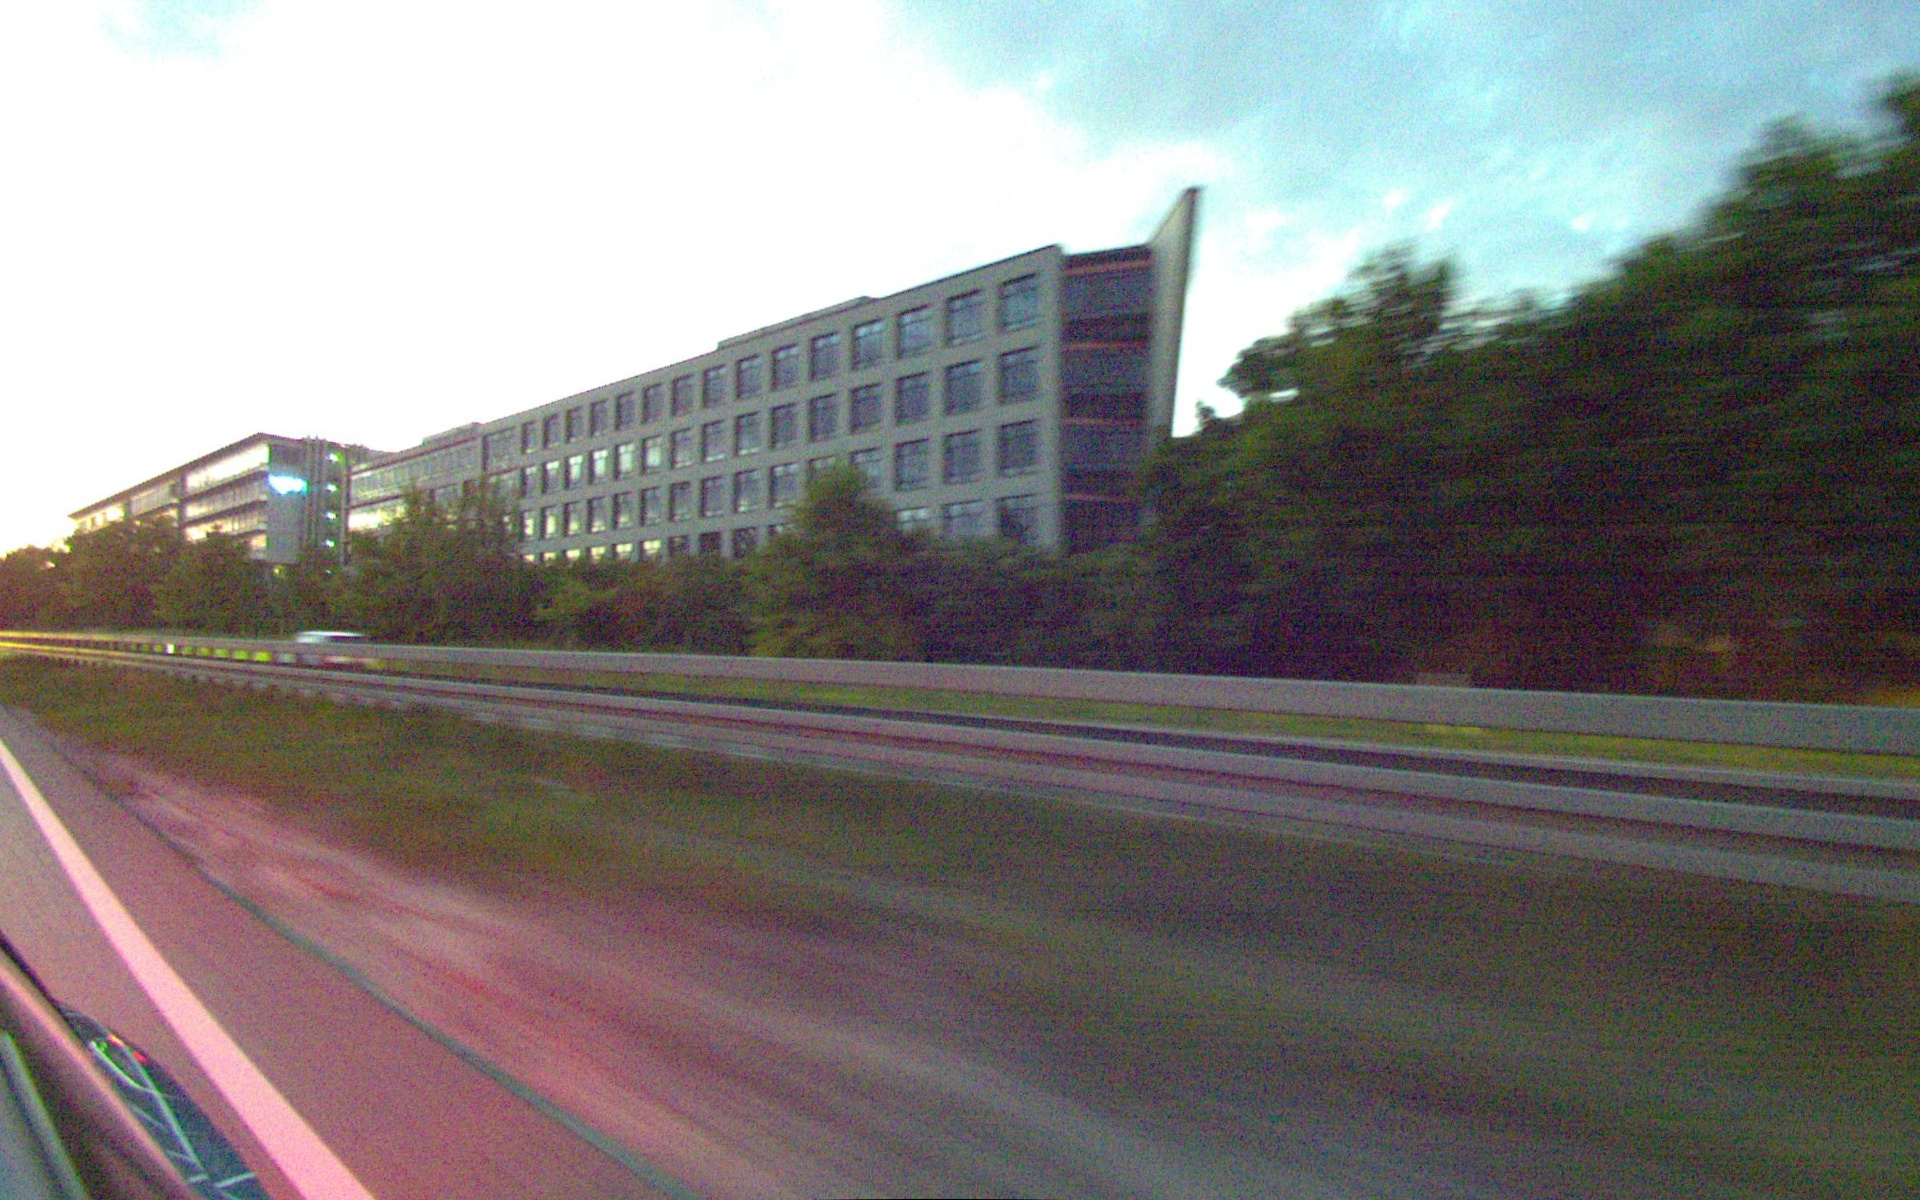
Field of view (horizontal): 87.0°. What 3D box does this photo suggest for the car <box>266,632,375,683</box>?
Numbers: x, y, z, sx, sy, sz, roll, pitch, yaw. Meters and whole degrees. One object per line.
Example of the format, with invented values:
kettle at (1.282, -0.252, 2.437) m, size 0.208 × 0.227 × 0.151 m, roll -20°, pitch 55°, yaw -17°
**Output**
car at (-22.170, 1.961, 35.027) m, size 4.656 × 1.654 × 1.752 m, roll -2°, pitch -4°, yaw 39°
